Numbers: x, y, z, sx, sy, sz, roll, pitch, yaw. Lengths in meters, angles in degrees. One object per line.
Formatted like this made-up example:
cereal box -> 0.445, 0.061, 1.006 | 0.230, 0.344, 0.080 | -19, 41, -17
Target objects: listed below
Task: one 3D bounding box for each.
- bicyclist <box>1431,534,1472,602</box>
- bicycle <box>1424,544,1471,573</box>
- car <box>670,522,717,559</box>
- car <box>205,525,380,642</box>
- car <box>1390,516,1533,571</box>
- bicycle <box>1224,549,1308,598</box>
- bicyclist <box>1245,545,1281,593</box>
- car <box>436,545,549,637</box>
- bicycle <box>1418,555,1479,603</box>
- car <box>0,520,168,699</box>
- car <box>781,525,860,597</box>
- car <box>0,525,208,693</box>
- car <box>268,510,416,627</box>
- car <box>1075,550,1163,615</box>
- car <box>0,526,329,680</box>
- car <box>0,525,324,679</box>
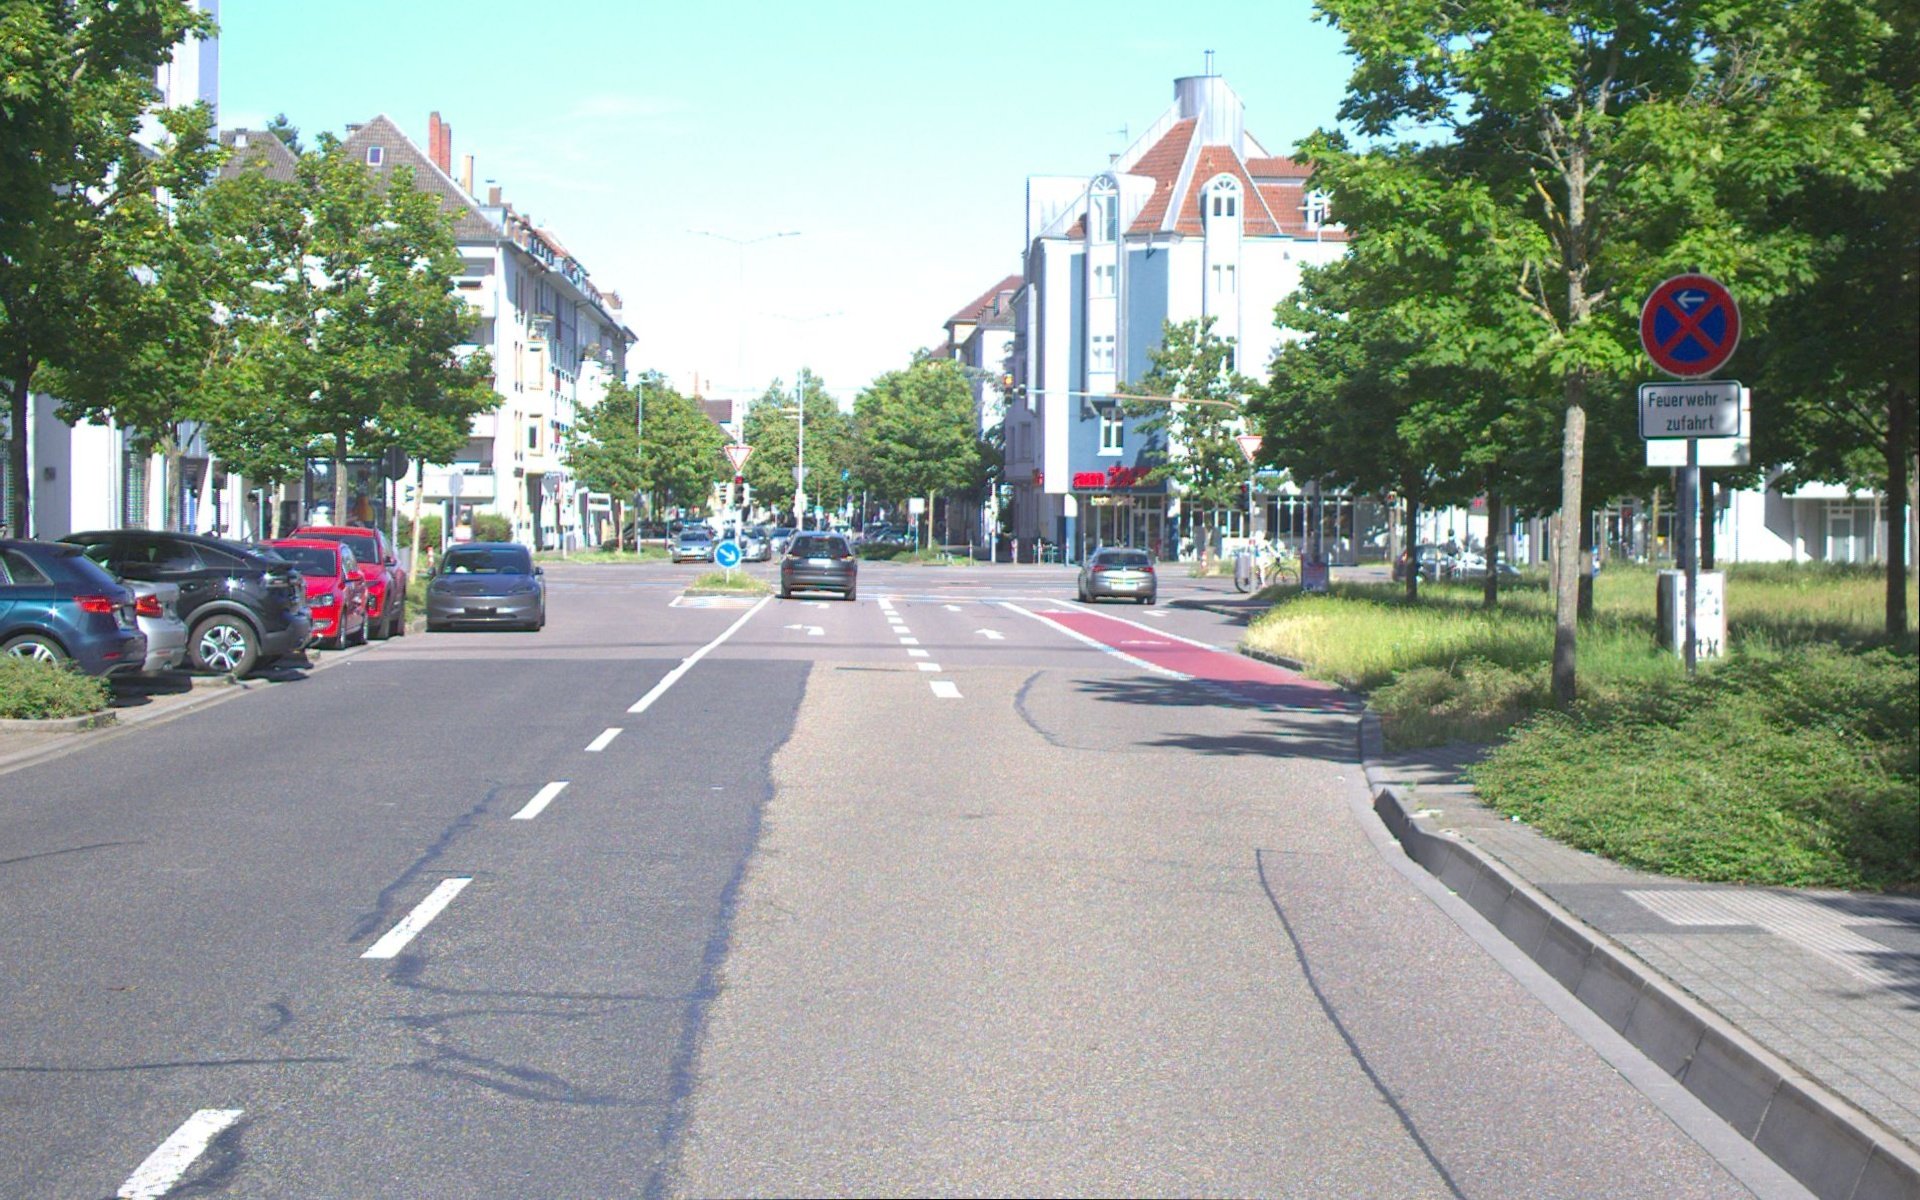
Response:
bicyclist -> 14.194, -0.929, 99.266 | 0.792, 1.952, 1.009 | 1, 1, 36
bicycle -> 20.204, -1.708, 142.530 | 1.863, 1.178, 0.562 | 0, 1, -6
car -> -11.840, -2.649, 152.903 | 1.753, 1.550, 3.731 | 3, 1, -1
car -> -8.994, -0.245, 46.580 | 1.688, 1.427, 3.872 | 3, 1, -2
car -> 14.938, -1.688, 102.492 | 3.950, 1.594, 1.676 | 0, 1, -4
bicycle -> 8.661, -0.753, 97.237 | 2.259, 1.343, 0.791 | 1, 1, 33
bicyclist -> 8.574, -0.872, 97.303 | 0.703, 1.343, 0.791 | 1, 1, 33
car -> -7.792, -0.178, 57.616 | 1.688, 1.463, 4.548 | 0, 1, -5
bicycle -> 14.100, -0.614, 99.139 | 0.792, 1.343, 2.258 | 1, 1, 35
car -> -9.113, -0.007, 29.294 | 4.384, 1.427, 1.694 | 3, 1, -7
car -> -3.432, -0.969, 83.826 | 1.753, 1.622, 4.479 | 3, 1, -3
car -> -9.331, 0.002, 31.707 | 4.385, 1.427, 1.694 | 3, 1, -2
car -> -9.274, -0.495, 51.846 | 1.688, 1.601, 4.311 | 3, 1, -4
car -> 4.124, -0.471, 89.722 | 1.688, 1.572, 3.872 | 3, 1, -5
car -> -9.512, 0.006, 39.214 | 4.384, 1.533, 1.694 | 3, 1, -7
car -> -9.030, -0.018, 36.178 | 4.384, 1.427, 1.694 | 3, 1, -5
